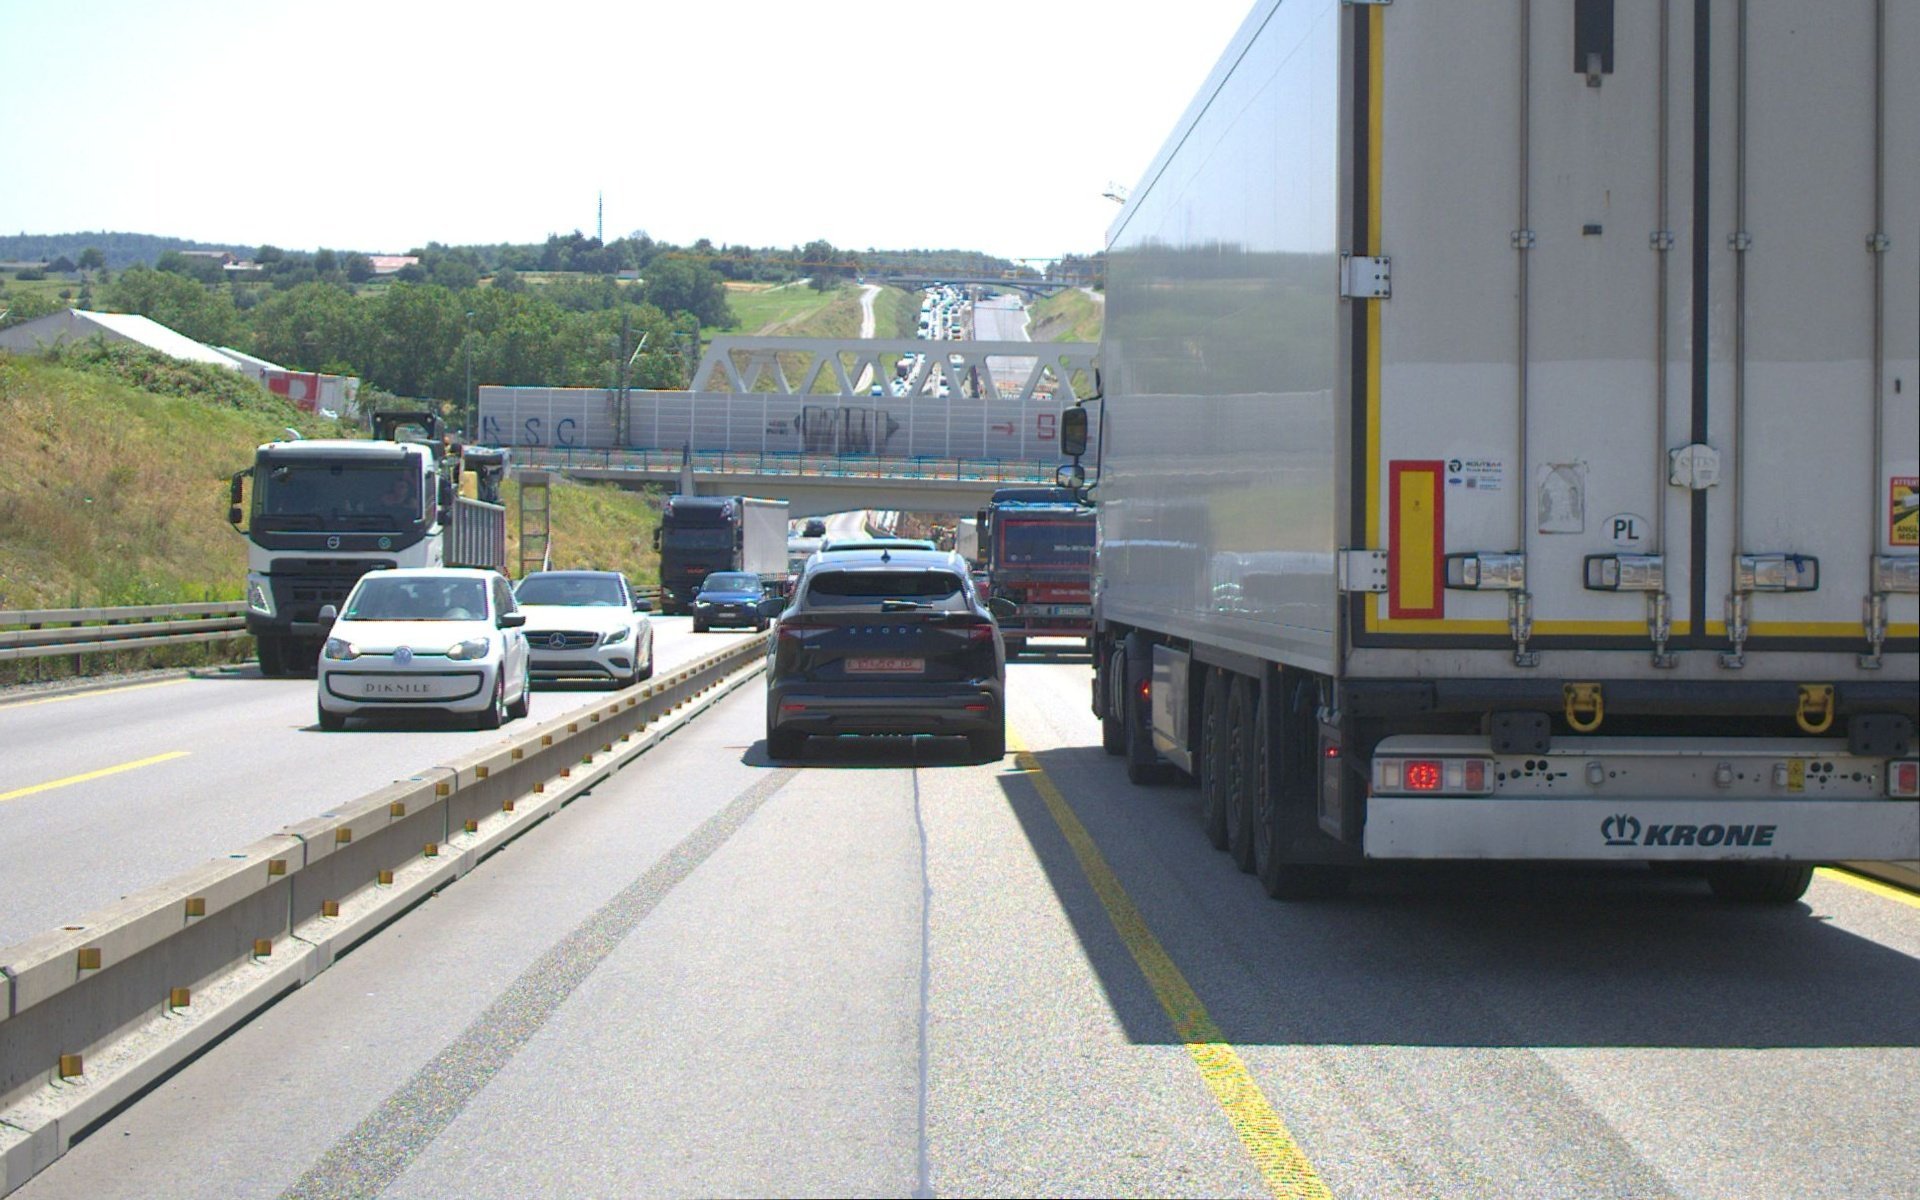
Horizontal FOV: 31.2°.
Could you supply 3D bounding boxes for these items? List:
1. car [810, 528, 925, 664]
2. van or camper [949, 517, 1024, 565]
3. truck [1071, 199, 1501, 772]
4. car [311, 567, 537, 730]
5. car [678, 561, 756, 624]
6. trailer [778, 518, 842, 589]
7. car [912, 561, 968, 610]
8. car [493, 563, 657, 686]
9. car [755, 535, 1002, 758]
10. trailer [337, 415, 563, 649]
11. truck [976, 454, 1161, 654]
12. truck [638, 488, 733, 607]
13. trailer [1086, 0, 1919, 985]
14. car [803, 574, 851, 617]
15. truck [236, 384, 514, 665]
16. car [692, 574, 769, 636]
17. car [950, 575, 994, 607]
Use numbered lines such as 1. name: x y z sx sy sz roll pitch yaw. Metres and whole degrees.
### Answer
1. car: -1.245 -0.077 47.227 1.475 1.789 3.297 0 1 0
2. van or camper: 1.907 -4.407 254.413 3.942 3.408 8.408 1 1 -11
3. truck: 2.397 -0.833 26.885 2.776 4.044 4.905 1 0 -1
4. car: -4.927 0.412 31.956 1.684 1.425 3.293 0 1 -2
5. car: -5.689 -0.189 80.822 1.684 1.425 3.850 0 1 -2
6. trailer: -6.356 -1.948 147.128 2.268 2.872 13.043 1 0 -1
7. car: -0.586 -0.431 99.038 1.491 1.326 3.244 2 0 -2
8. car: -4.693 0.266 42.335 1.684 1.425 4.123 0 1 -2
9. car: -0.621 0.312 26.935 1.800 1.615 3.298 0 1 -1
10. trailer: -8.473 -1.111 58.090 2.587 3.624 9.079 0 1 -1
11. truck: 1.743 -0.798 60.667 2.814 3.124 12.838 1 1 0
12. truck: -9.187 -1.760 115.460 2.767 3.871 4.964 1 0 -1
13. trailer: 2.495 -0.739 19.078 2.801 4.044 14.117 1 0 -1
14. car: -4.691 -0.179 121.610 1.590 1.482 3.295 0 1 -1
15. truck: -8.341 -1.052 50.125 2.587 3.710 9.333 0 1 -1
16. car: -5.394 0.103 81.196 1.689 1.398 3.687 0 0 -2
17. car: 0.466 -0.355 134.221 1.538 1.202 3.311 0 1 -3
